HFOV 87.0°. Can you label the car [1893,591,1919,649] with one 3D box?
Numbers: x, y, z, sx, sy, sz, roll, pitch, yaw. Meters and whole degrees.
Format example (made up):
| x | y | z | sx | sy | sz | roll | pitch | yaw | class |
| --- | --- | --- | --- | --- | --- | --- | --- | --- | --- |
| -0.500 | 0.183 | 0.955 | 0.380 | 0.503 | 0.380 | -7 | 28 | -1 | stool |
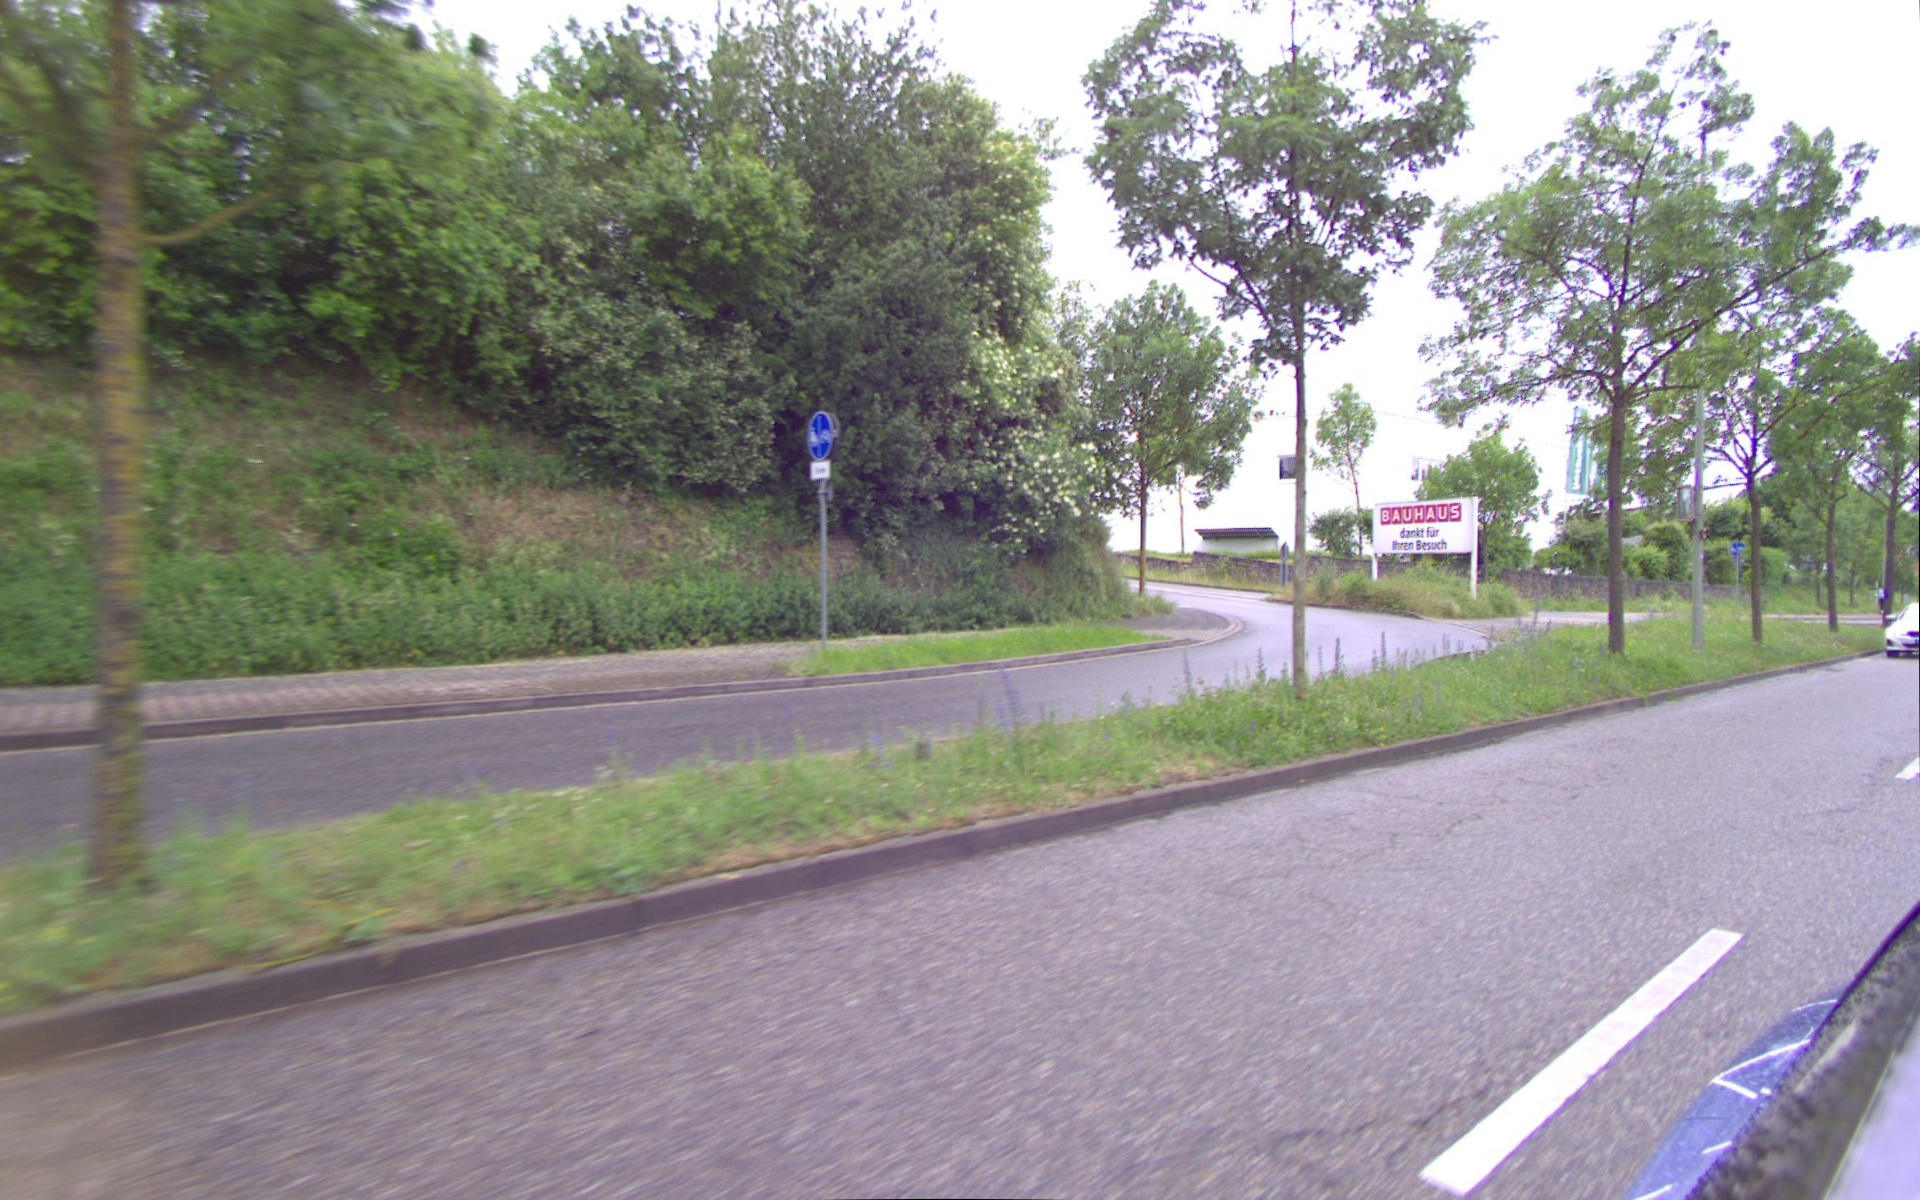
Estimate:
| x | y | z | sx | sy | sz | roll | pitch | yaw | class |
| --- | --- | --- | --- | --- | --- | --- | --- | --- | --- |
| 26.407 | 0.516 | 26.888 | 3.928 | 1.500 | 1.863 | 0 | 1 | -40 | car |
